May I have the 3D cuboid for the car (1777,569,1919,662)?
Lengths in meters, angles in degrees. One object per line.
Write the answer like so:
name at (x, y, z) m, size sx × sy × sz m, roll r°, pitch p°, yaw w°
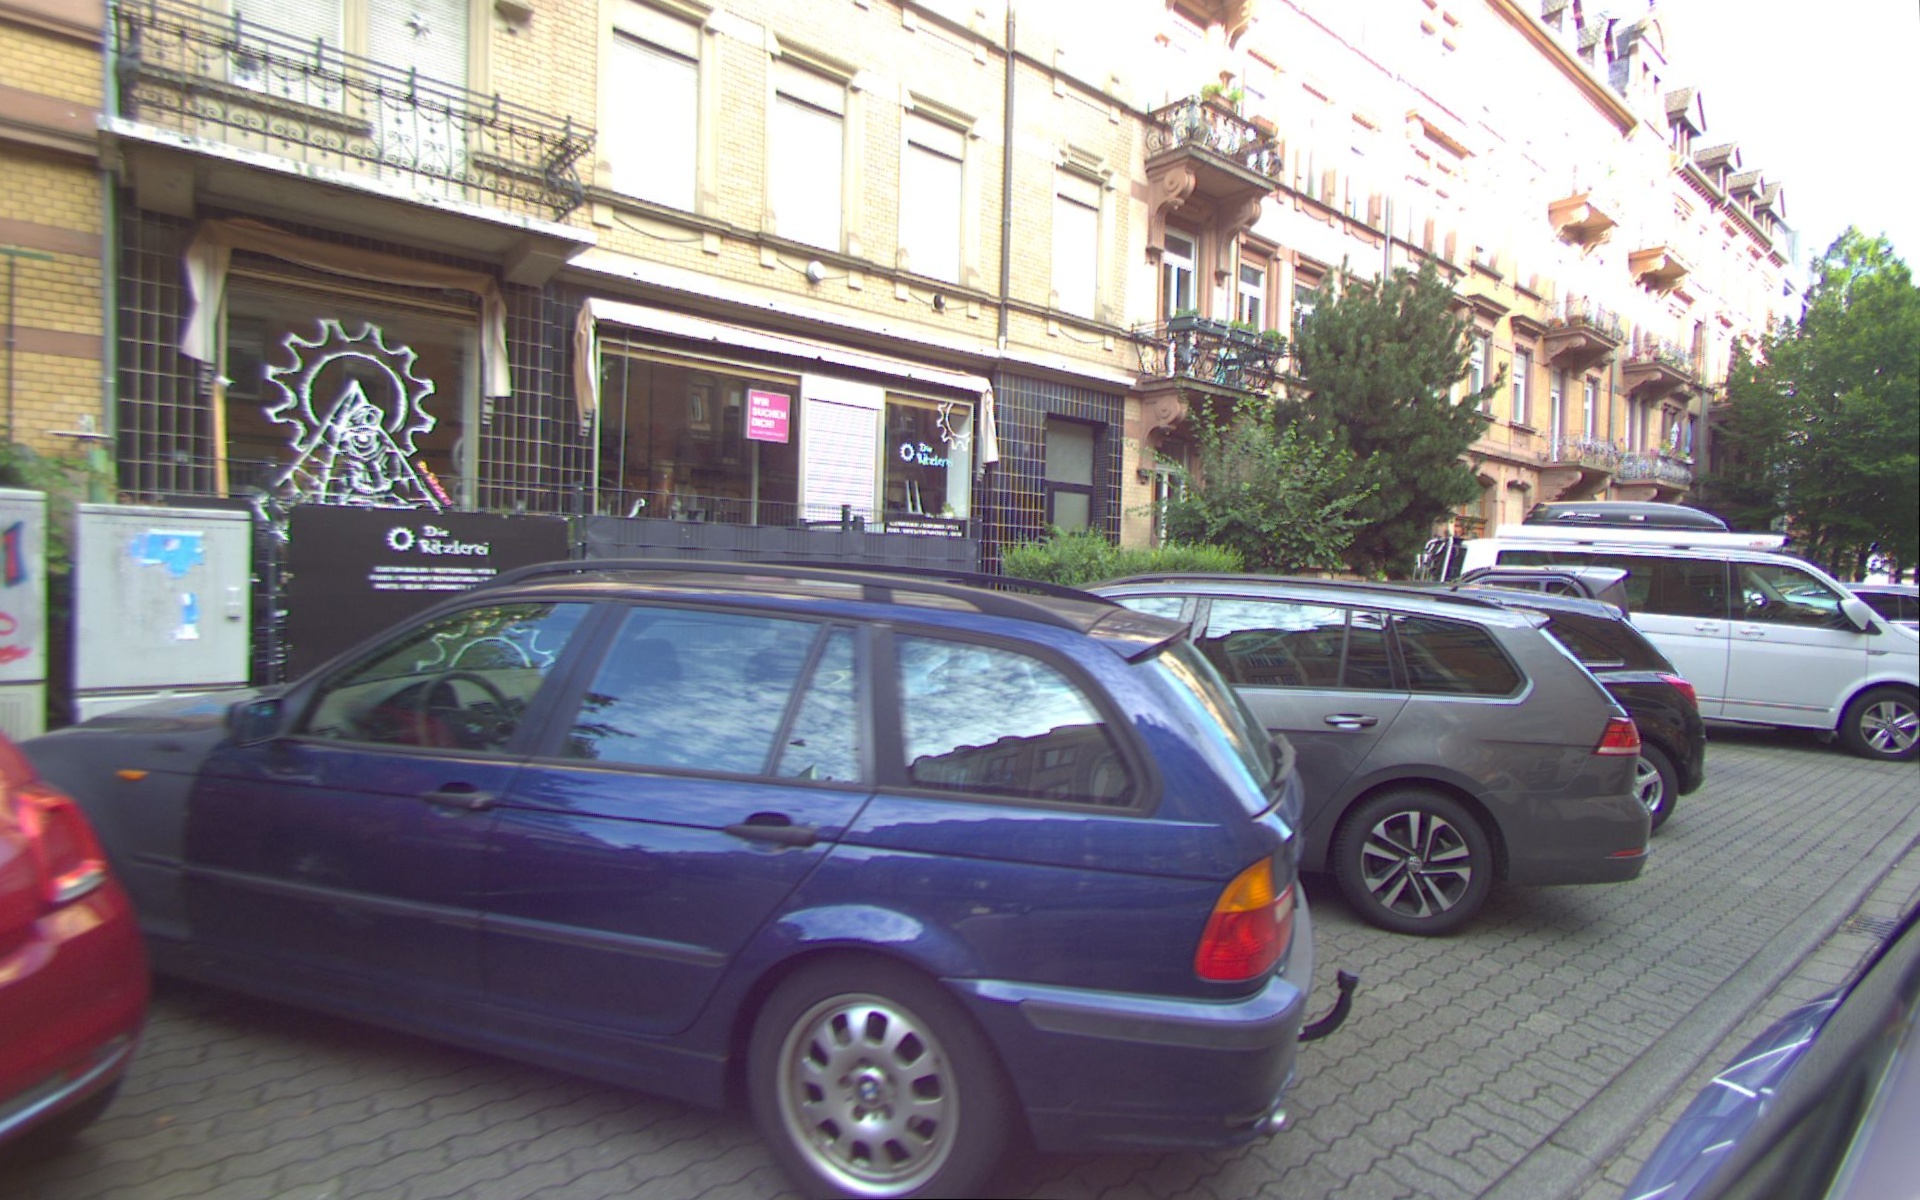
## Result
car at (20.786, 0.370, 21.924) m, size 4.348 × 1.844 × 1.745 m, roll 4°, pitch 3°, yaw 19°

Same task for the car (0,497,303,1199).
car at (-3.548, 0.468, 1.971) m, size 3.664 × 1.503 × 1.735 m, roll 3°, pitch 2°, yaw 13°

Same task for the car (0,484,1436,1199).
car at (-1.045, 0.505, 3.372) m, size 4.408 × 1.482 × 1.870 m, roll 4°, pitch 2°, yaw 16°

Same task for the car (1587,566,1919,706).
car at (11.661, 0.460, 14.232) m, size 4.395 × 1.754 × 1.990 m, roll 1°, pitch 0°, yaw 16°

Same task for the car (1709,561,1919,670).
car at (17.449, 0.326, 19.364) m, size 1.778 × 1.806 × 4.649 m, roll 3°, pitch 3°, yaw -40°

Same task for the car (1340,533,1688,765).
car at (4.836, 0.354, 9.128) m, size 2.444 × 1.687 × 1.336 m, roll 6°, pitch 2°, yaw 25°

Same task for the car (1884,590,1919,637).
car at (32.759, 0.563, 32.160) m, size 4.553 × 1.469 × 1.782 m, roll 4°, pitch 3°, yaw 19°

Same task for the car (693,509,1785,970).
car at (1.113, 0.476, 5.239) m, size 4.400 × 1.495 × 1.883 m, roll 5°, pitch 2°, yaw 11°

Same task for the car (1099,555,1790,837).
car at (3.002, 0.524, 7.112) m, size 3.930 × 1.477 × 1.746 m, roll 3°, pitch 2°, yaw 10°

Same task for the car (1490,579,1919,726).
car at (9.186, 0.577, 12.665) m, size 4.178 × 1.569 × 1.864 m, roll 1°, pitch 0°, yaw 16°

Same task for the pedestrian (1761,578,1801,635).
pedestrian at (24.621, 0.192, 30.347) m, size 0.819 × 1.654 × 0.732 m, roll -1°, pitch 3°, yaw -42°

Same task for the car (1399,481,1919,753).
car at (7.539, 0.078, 10.618) m, size 5.092 × 2.434 × 1.907 m, roll 3°, pitch 2°, yaw 18°

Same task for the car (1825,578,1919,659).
car at (22.935, 0.472, 23.400) m, size 3.951 × 1.762 × 1.828 m, roll 3°, pitch 2°, yaw 20°
